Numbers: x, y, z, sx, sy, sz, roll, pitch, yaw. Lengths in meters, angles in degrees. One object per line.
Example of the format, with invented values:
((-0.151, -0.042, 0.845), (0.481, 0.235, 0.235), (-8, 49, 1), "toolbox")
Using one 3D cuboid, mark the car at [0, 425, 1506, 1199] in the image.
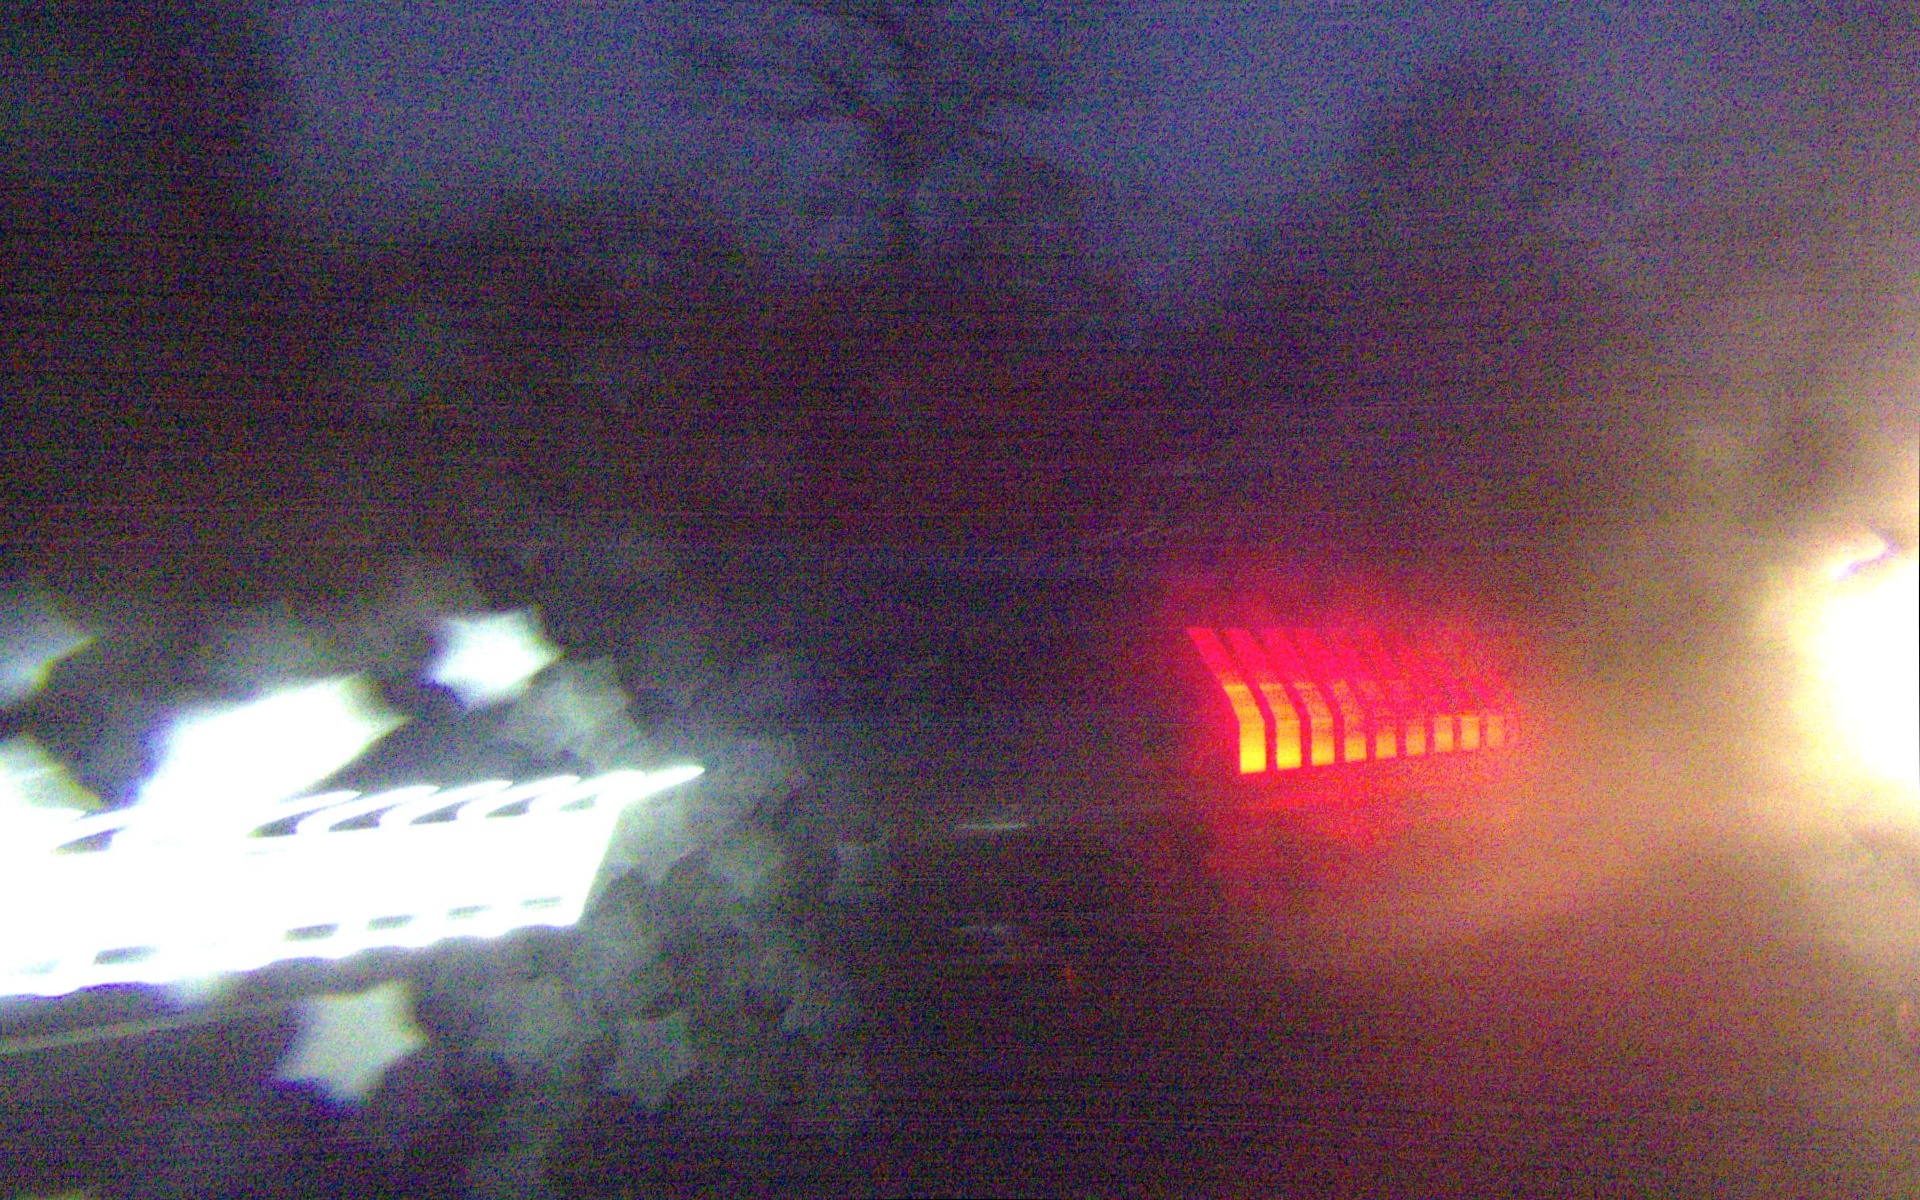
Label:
((-0.243, 0.621, 3.979), (4.926, 1.731, 1.984), (2, -2, -30), "car")
